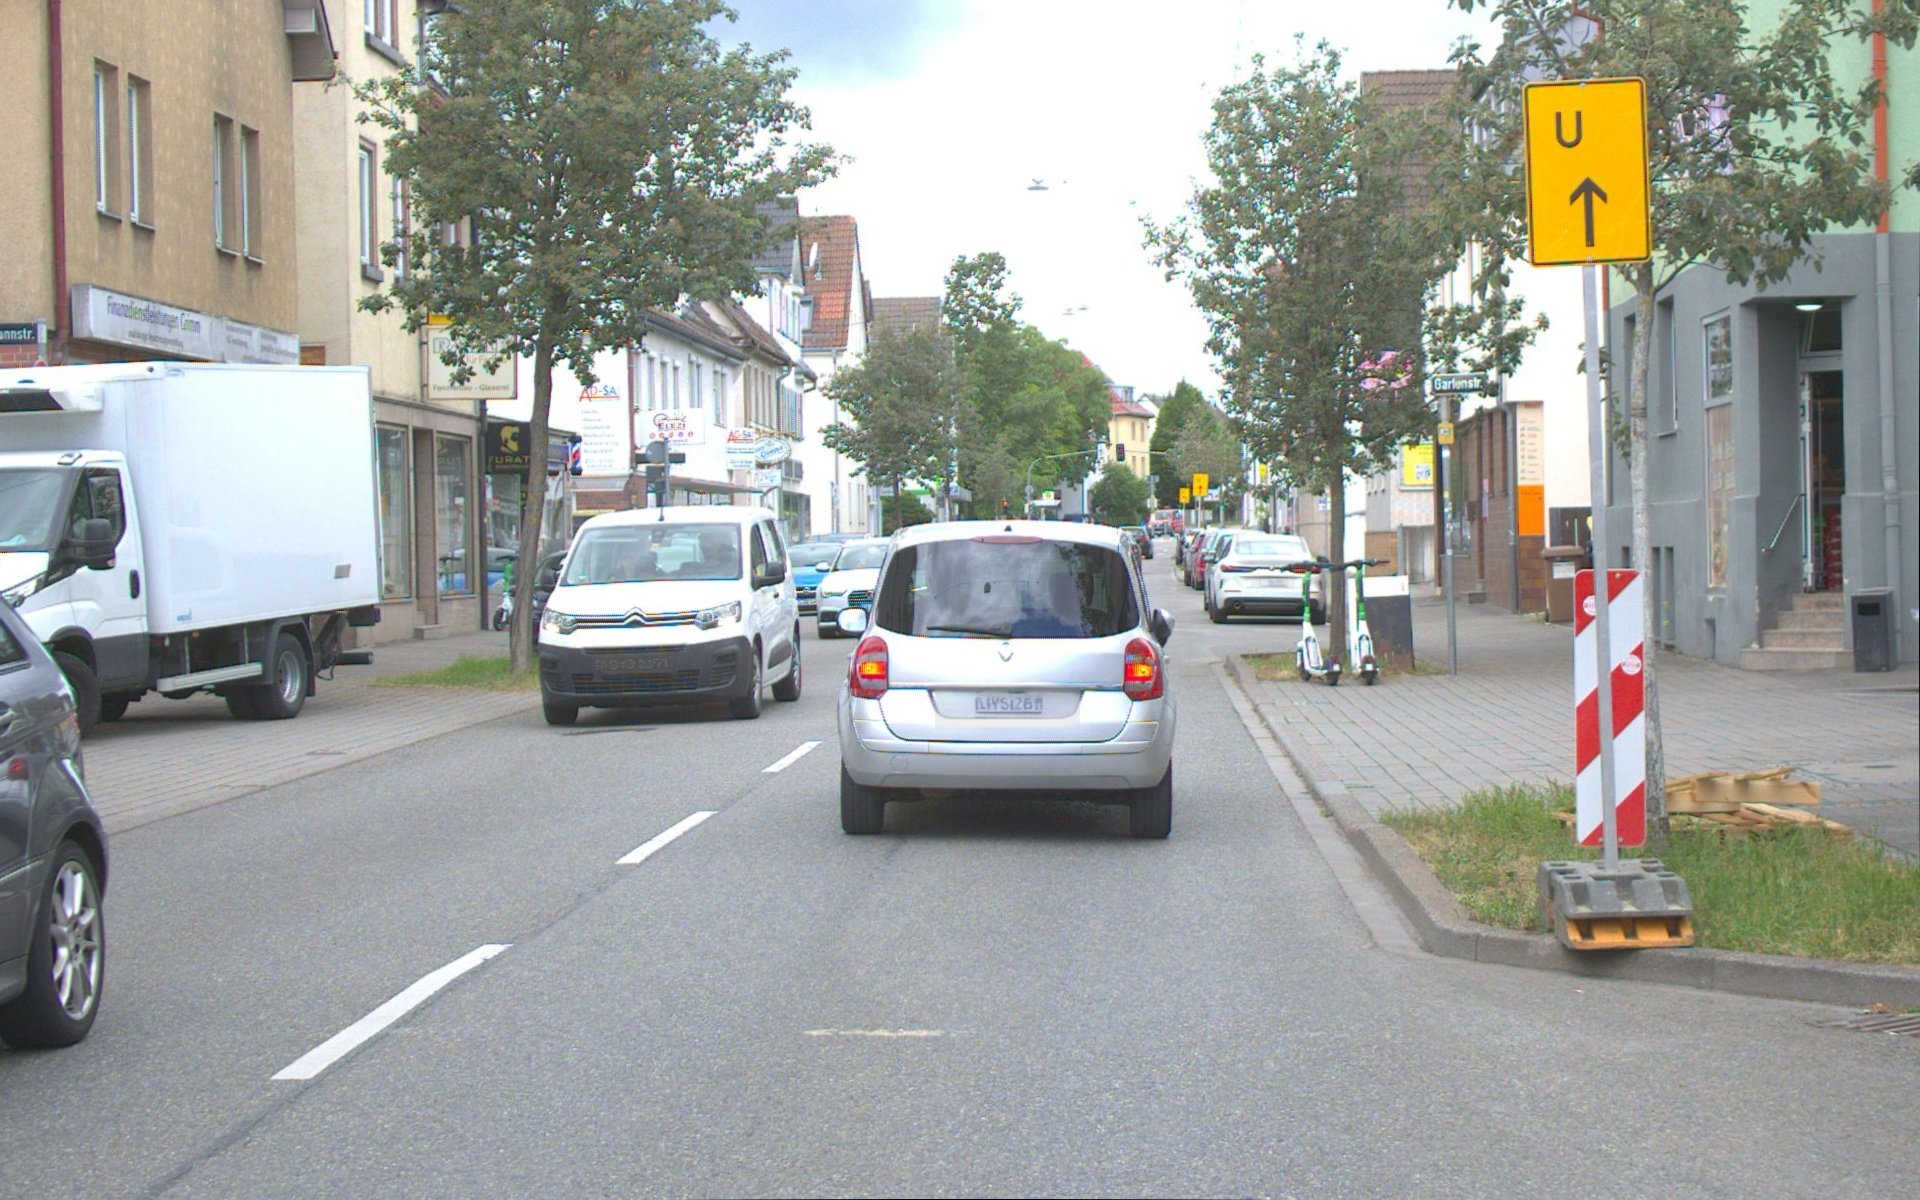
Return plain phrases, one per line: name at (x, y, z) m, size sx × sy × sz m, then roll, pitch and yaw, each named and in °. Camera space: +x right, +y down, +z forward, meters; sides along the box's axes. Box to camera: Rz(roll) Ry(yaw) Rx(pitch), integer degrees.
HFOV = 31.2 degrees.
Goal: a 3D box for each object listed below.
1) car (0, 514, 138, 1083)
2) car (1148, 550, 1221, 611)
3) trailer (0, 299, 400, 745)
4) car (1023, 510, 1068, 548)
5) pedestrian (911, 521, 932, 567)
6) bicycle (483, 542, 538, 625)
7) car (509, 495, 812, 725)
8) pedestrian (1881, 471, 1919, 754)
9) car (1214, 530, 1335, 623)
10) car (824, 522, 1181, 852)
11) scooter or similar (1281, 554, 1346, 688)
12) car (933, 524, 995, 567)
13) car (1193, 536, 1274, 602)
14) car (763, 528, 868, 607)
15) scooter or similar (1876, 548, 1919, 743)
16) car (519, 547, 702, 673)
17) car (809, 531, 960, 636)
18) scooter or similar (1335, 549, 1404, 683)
car at (-3.560, 0.598, 8.657) m, size 1.780 × 1.546 × 4.075 m, roll -3°, pitch 1°, yaw 2°
car at (5.604, -0.510, 85.601) m, size 1.755 × 1.441 × 4.454 m, roll 0°, pitch 1°, yaw 4°
trailer at (-7.242, -0.633, 28.363) m, size 2.505 × 3.208 × 7.130 m, roll 0°, pitch 1°, yaw 15°
car at (4.141, -3.427, 165.414) m, size 1.901 × 1.731 × 4.365 m, roll -2°, pitch 1°, yaw 4°
pedestrian at (-1.477, -2.167, 133.301) m, size 0.762 × 1.785 × 0.890 m, roll 0°, pitch 1°, yaw 3°
bicycle at (-6.825, -0.264, 52.292) m, size 0.502 × 1.231 × 1.942 m, roll 0°, pitch 1°, yaw 3°
car at (-2.507, 0.038, 29.805) m, size 1.994 × 1.790 × 4.277 m, roll -2°, pitch 1°, yaw 3°
pedestrian at (6.165, 0.068, 21.211) m, size 0.750 × 1.714 × 0.900 m, roll 0°, pitch 1°, yaw 3°
car at (5.061, -0.414, 55.739) m, size 1.831 × 1.441 × 4.331 m, roll 0°, pitch 1°, yaw 4°
car at (0.326, 0.371, 18.401) m, size 1.682 × 1.560 × 3.993 m, roll 0°, pitch 1°, yaw 4°
scooter or similar at (3.367, 0.182, 32.843) m, size 0.502 × 1.231 × 1.942 m, roll 0°, pitch 1°, yaw 3°
car at (0.173, -2.019, 126.498) m, size 1.948 × 1.462 × 4.515 m, roll -3°, pitch 1°, yaw 4°
car at (6.429, -0.742, 81.093) m, size 1.831 × 1.492 × 3.993 m, roll 0°, pitch 1°, yaw 4°
car at (-2.895, -0.673, 69.560) m, size 1.682 × 1.494 × 3.775 m, roll -2°, pitch 1°, yaw 4°
scooter or similar at (6.297, 0.283, 22.132) m, size 0.589 × 1.228 × 0.891 m, roll 0°, pitch 1°, yaw 3°
car at (-4.323, 0.088, 43.018) m, size 1.682 × 1.420 × 3.931 m, roll -2°, pitch 1°, yaw 3°
car at (-1.082, -0.281, 51.492) m, size 1.843 × 1.428 × 4.543 m, roll -2°, pitch 1°, yaw 4°
scooter or similar at (3.901, 0.133, 32.823) m, size 0.502 × 1.231 × 1.942 m, roll 0°, pitch 1°, yaw 3°
